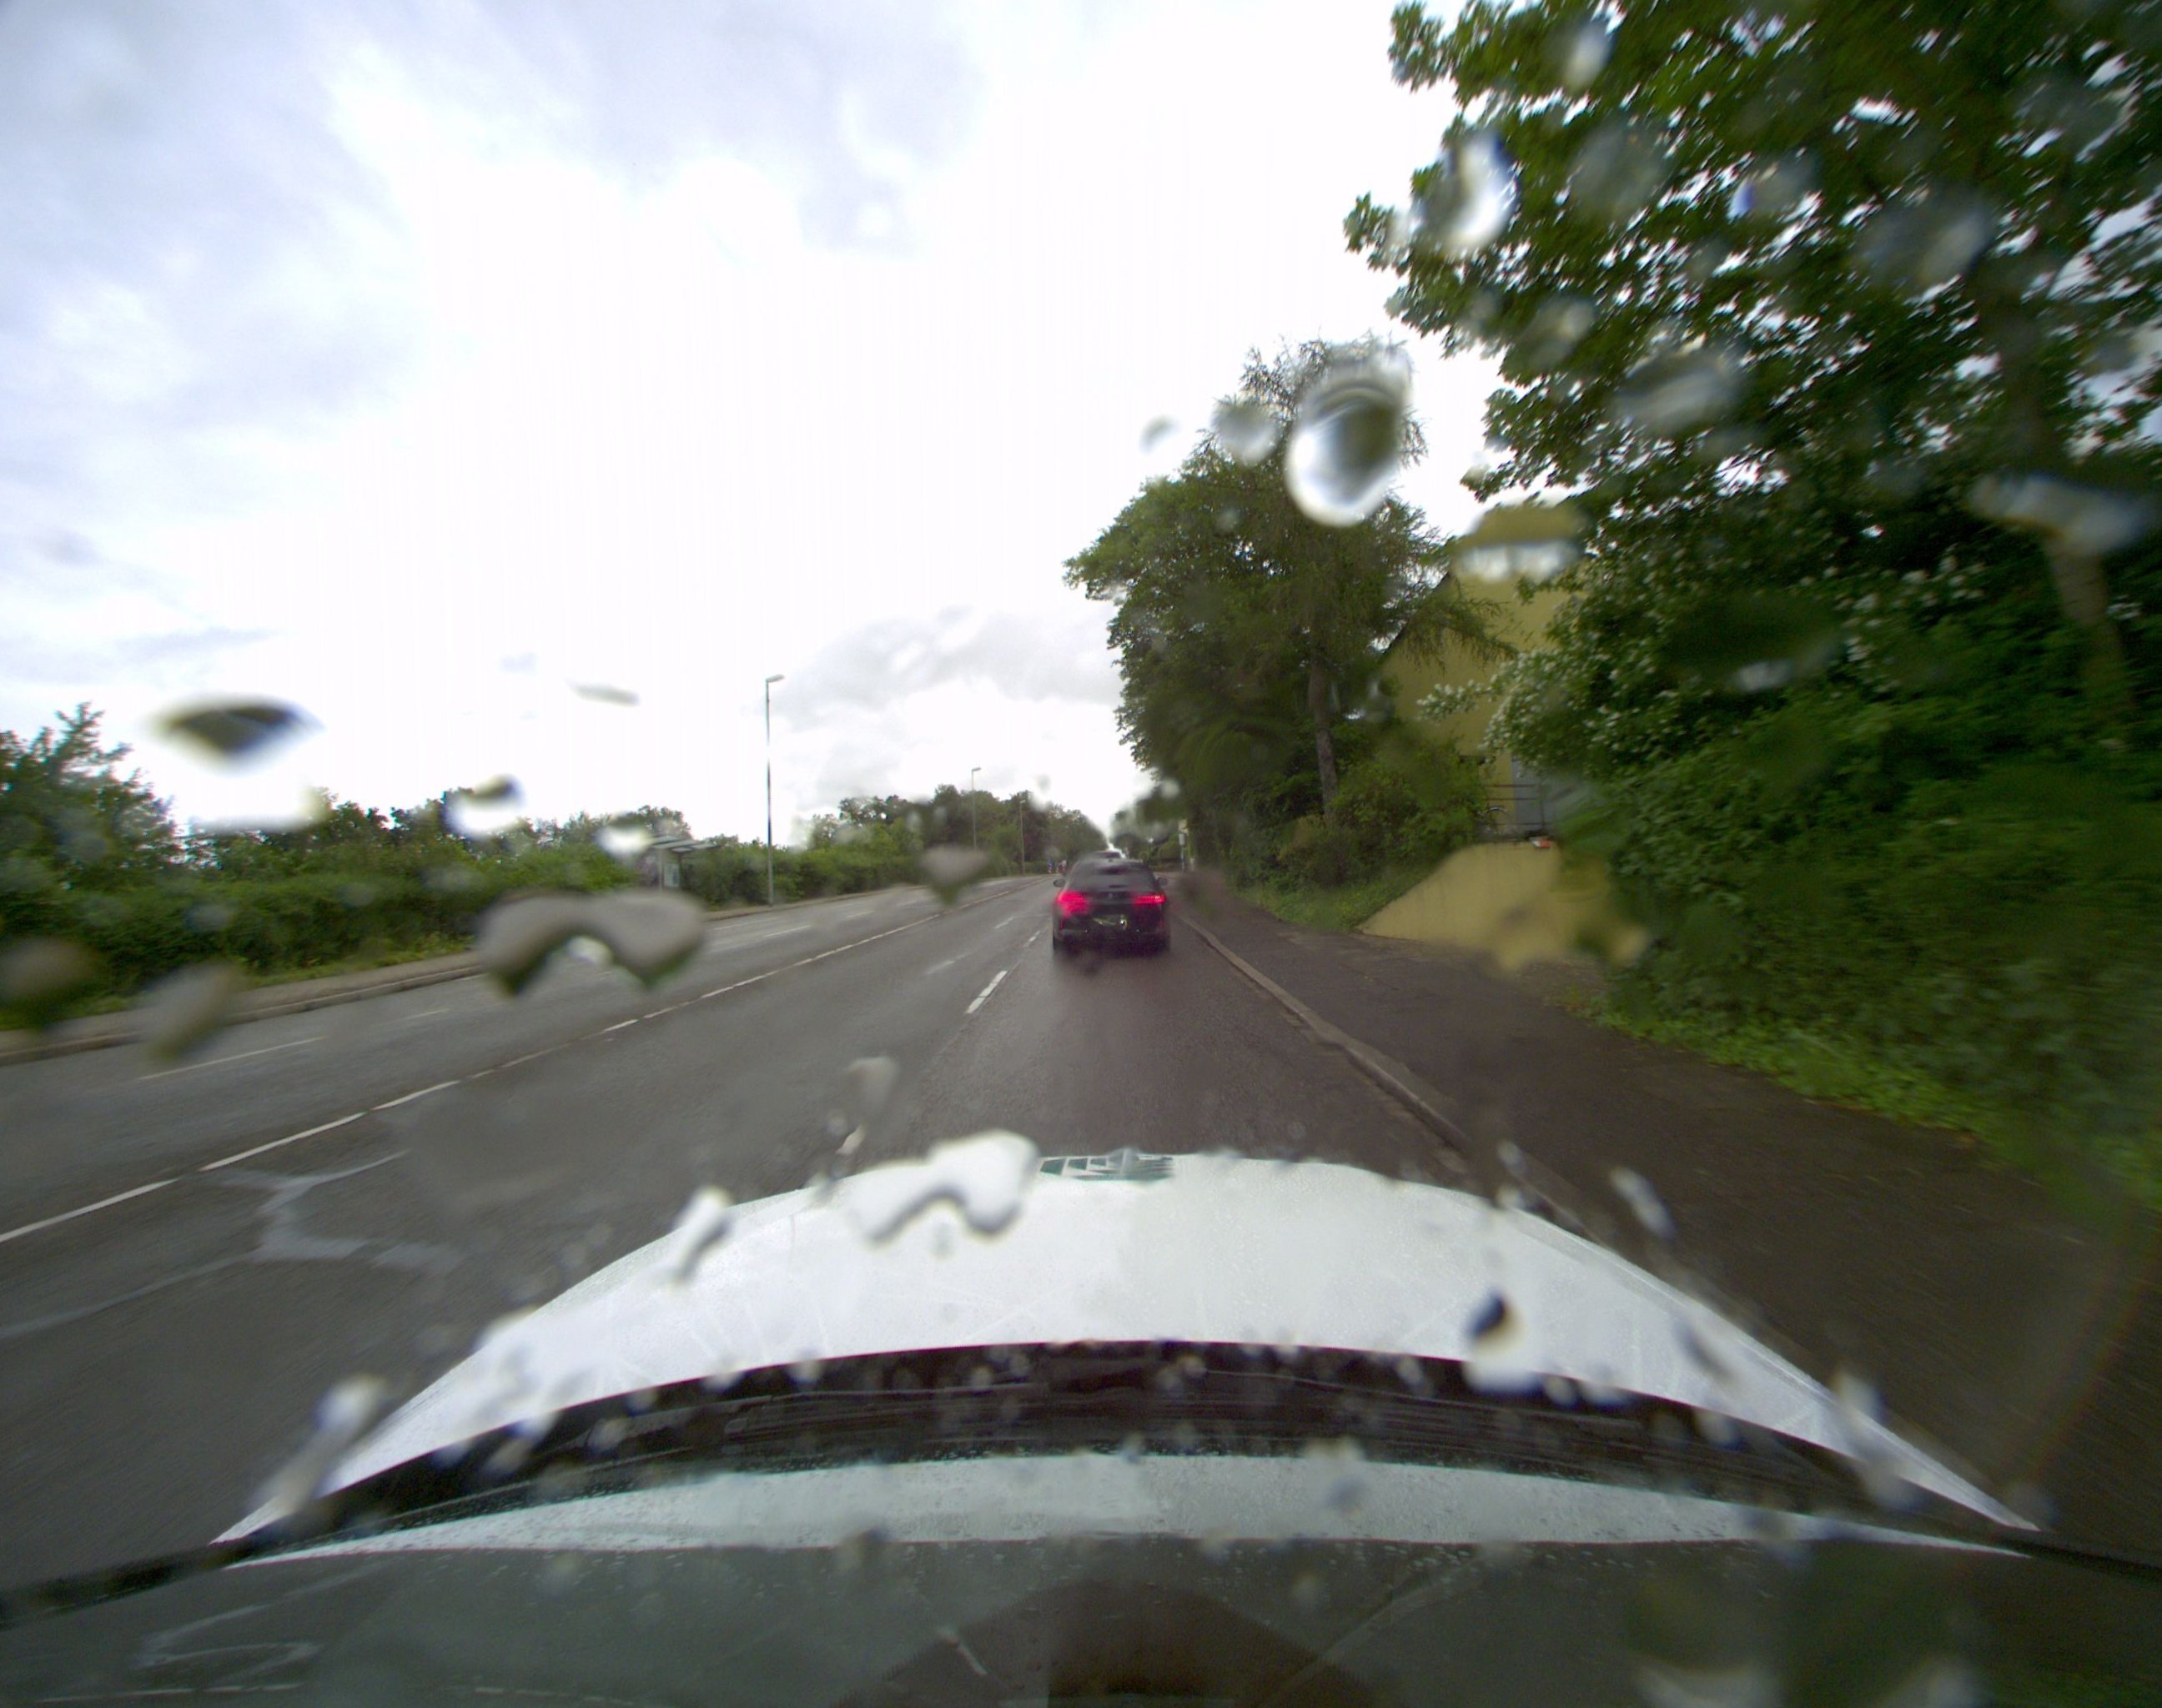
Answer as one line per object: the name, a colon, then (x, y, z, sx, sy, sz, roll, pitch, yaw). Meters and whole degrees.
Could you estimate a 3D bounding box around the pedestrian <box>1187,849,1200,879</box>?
pedestrian: (6.156, 0.557, 44.541, 0.606, 1.593, 0.648, -2, -1, 10)

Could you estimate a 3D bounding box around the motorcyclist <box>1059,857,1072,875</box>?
motorcyclist: (-1.347, 1.059, 71.667, 1.035, 1.568, 0.855, 0, -1, 1)

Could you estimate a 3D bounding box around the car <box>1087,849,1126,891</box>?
car: (1.217, 0.730, 38.527, 1.623, 1.833, 4.002, -3, 0, 2)

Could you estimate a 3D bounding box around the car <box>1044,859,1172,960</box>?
car: (0.505, 0.846, 14.059, 1.889, 1.489, 4.003, 0, -1, 3)

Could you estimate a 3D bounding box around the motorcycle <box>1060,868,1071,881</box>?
motorcycle: (-1.357, 1.808, 71.632, 0.872, 1.124, 2.742, 0, -1, 2)

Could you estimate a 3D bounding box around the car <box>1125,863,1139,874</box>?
car: (7.605, 2.167, 120.819, 1.927, 1.442, 4.413, -3, -1, 4)
